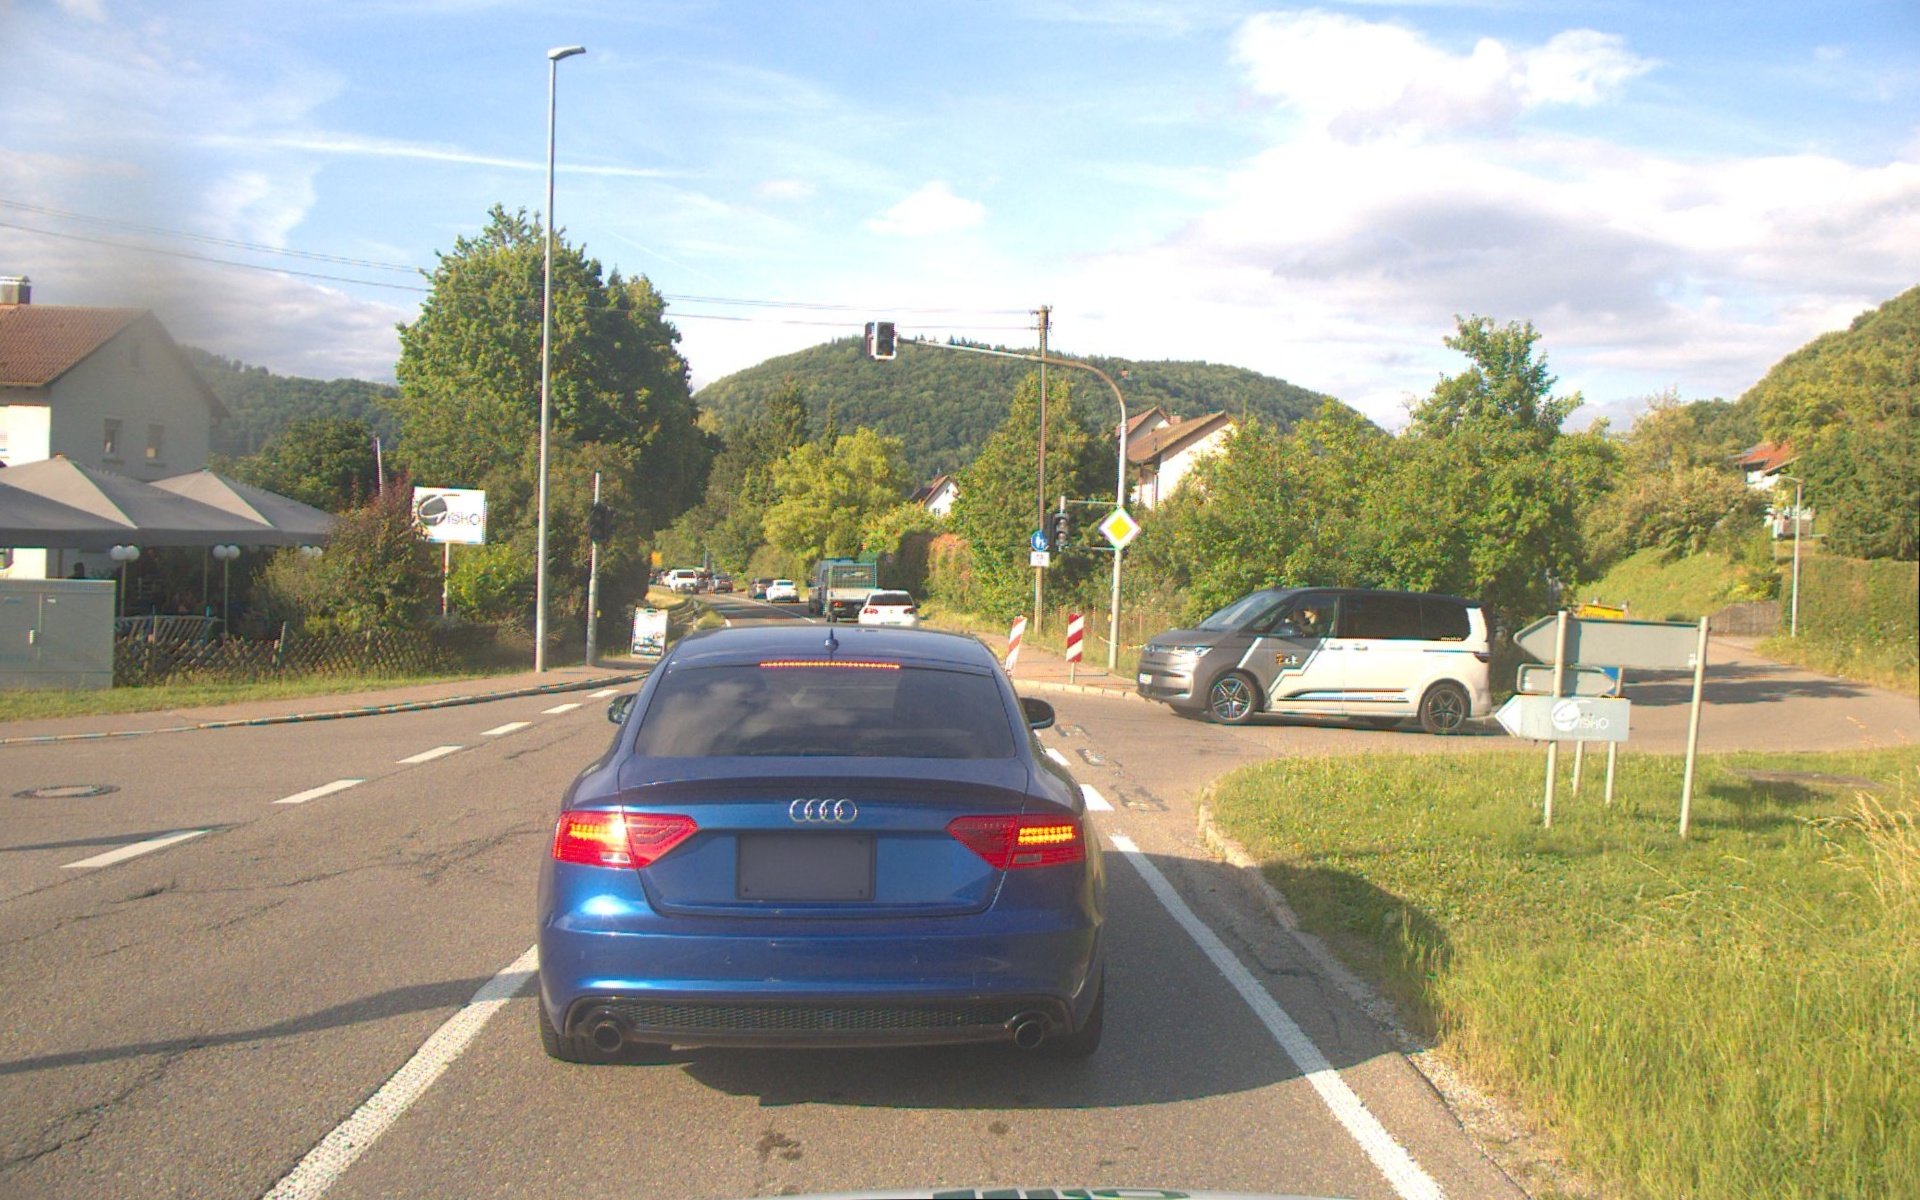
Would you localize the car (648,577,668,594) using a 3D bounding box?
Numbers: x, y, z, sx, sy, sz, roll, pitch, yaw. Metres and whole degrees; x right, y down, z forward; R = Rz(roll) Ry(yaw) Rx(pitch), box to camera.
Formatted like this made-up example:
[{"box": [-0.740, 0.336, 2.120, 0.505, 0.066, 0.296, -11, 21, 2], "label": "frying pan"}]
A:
[{"box": [-32.418, -1.576, 177.234, 1.743, 1.814, 3.983, 0, 1, -16], "label": "car"}]

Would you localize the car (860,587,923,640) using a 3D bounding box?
[{"box": [-2.033, 0.375, 49.317, 1.736, 1.439, 4.172, 2, 0, -2], "label": "car"}]

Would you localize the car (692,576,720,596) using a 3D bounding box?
[{"box": [-22.653, -1.285, 147.634, 2.007, 1.713, 3.983, 0, 1, -16], "label": "car"}]

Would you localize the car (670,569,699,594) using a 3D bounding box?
[{"box": [-22.136, -1.532, 132.816, 1.960, 1.937, 5.235, -1, 1, -14], "label": "car"}]

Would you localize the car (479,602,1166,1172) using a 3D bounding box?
[{"box": [-0.438, 0.749, 6.460, 1.793, 1.433, 4.224, 0, 0, -2], "label": "car"}]

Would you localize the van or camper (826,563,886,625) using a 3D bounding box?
[{"box": [-4.302, -0.270, 67.683, 2.138, 2.426, 5.362, 0, 1, -7], "label": "van or camper"}]

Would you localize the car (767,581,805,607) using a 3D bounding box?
[{"box": [-11.036, -0.378, 104.772, 1.789, 1.579, 3.984, 0, 1, -15], "label": "car"}]

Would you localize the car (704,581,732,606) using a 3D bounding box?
[{"box": [-20.329, -0.583, 138.809, 1.960, 2.049, 3.985, 0, 1, -15], "label": "car"}]

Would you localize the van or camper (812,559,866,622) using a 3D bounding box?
[{"box": [-6.011, -0.481, 81.561, 2.369, 2.955, 6.123, 0, 1, -7], "label": "van or camper"}]

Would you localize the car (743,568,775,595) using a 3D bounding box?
[{"box": [-14.137, -1.287, 116.099, 1.766, 1.825, 3.985, 0, 1, -14], "label": "car"}]

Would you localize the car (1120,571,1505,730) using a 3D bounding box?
[{"box": [4.823, 0.681, 22.830, 4.773, 1.909, 1.993, 2, 1, -14], "label": "car"}]
